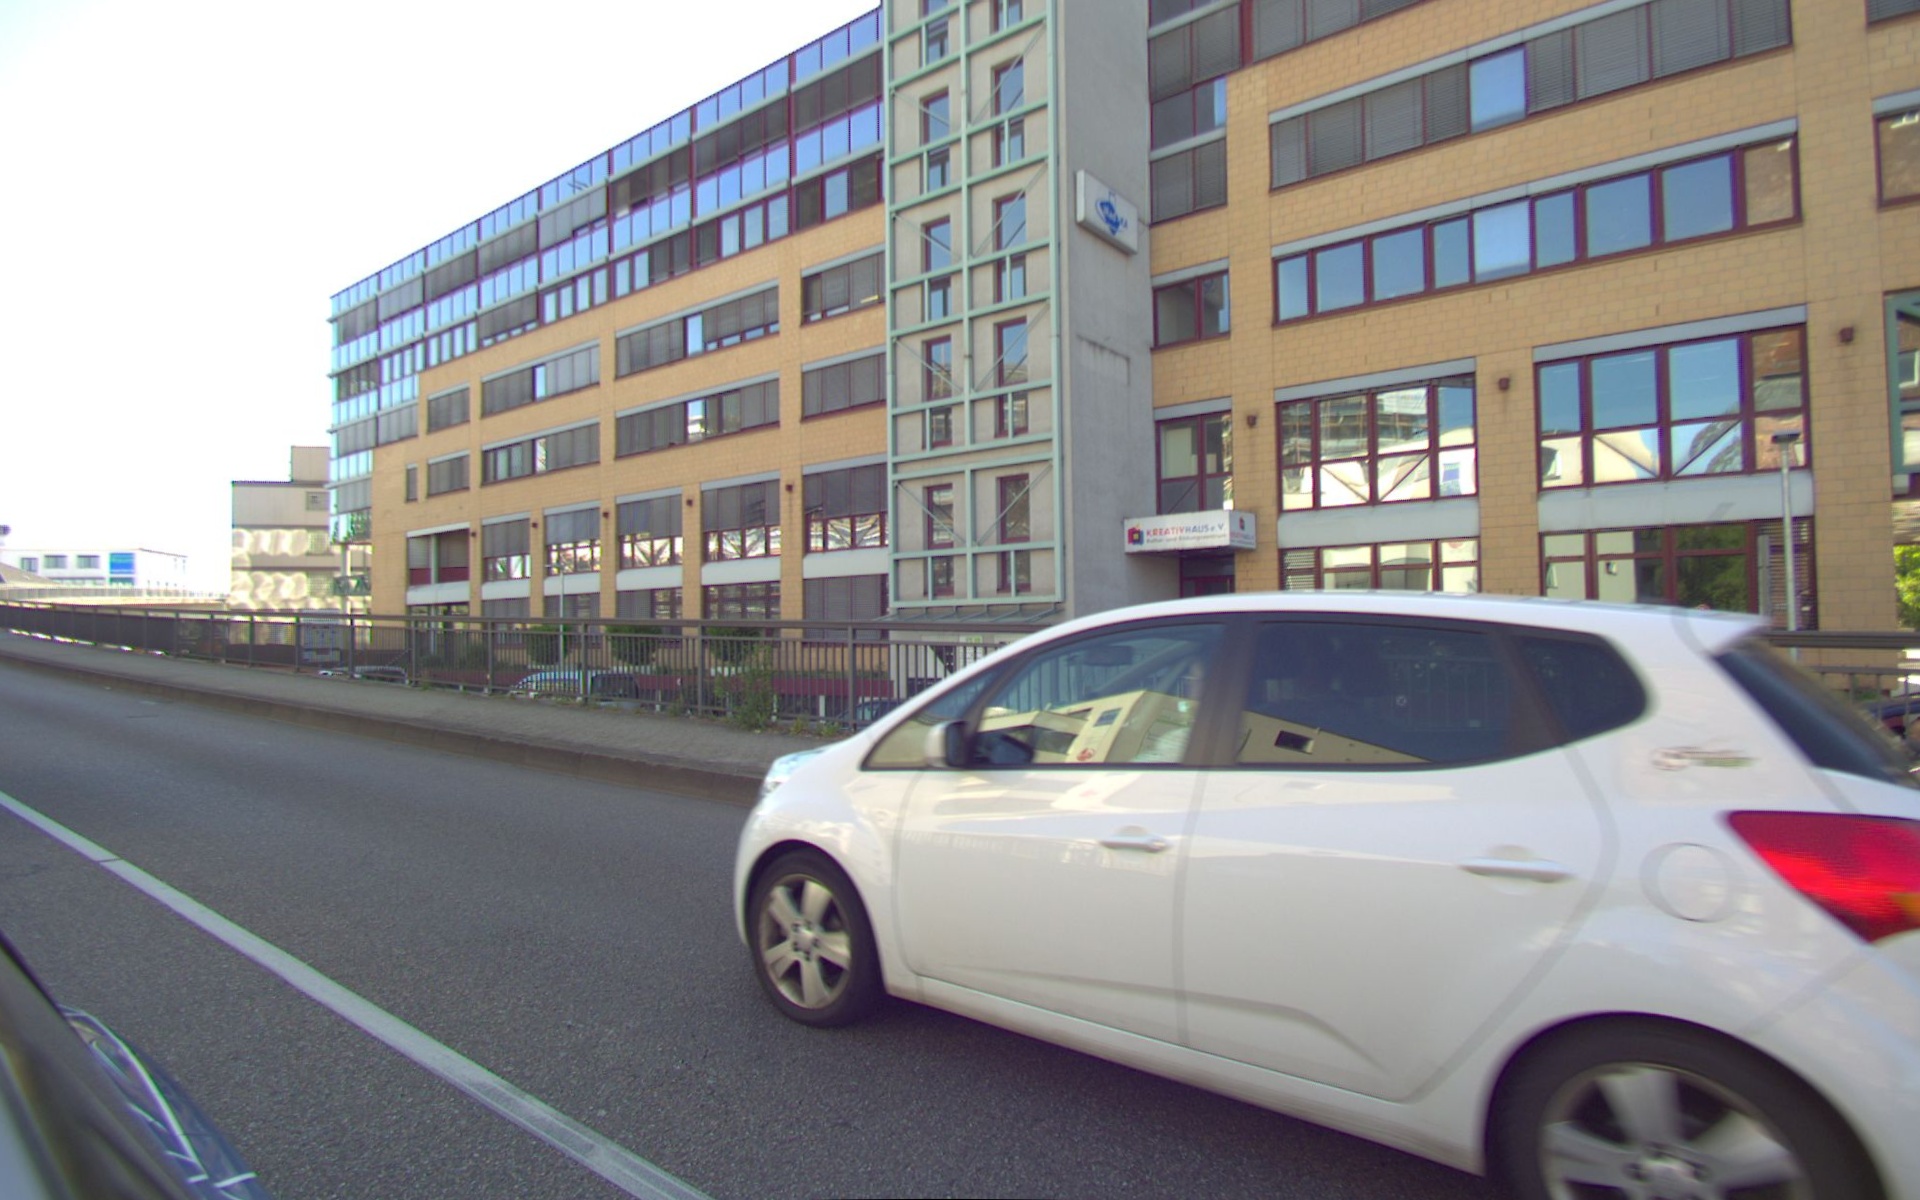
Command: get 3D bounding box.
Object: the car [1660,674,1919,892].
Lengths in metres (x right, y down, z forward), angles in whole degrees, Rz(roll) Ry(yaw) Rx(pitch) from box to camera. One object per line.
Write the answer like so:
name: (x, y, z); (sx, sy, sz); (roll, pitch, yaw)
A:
car: (9.323, 1.640, 9.291); (4.679, 1.771, 1.933); (-2, -2, 36)

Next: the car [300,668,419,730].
car: (-18.528, 2.993, 31.174); (3.997, 1.675, 1.973); (-3, -3, 41)

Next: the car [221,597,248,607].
car: (-94.556, 0.278, 131.934); (1.672, 1.344, 4.012); (0, -1, -17)

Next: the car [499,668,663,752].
car: (-9.006, 2.509, 23.926); (3.997, 1.737, 1.973); (-3, -3, 41)

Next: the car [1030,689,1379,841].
car: (3.274, 2.129, 14.021); (4.350, 1.616, 1.803); (-2, -3, 38)

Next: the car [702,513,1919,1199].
car: (1.121, 0.697, 3.430); (3.994, 1.616, 1.803); (-1, -2, 38)

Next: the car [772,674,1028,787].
car: (-1.125, 2.160, 17.619); (4.350, 1.616, 1.803); (-2, -3, 38)
